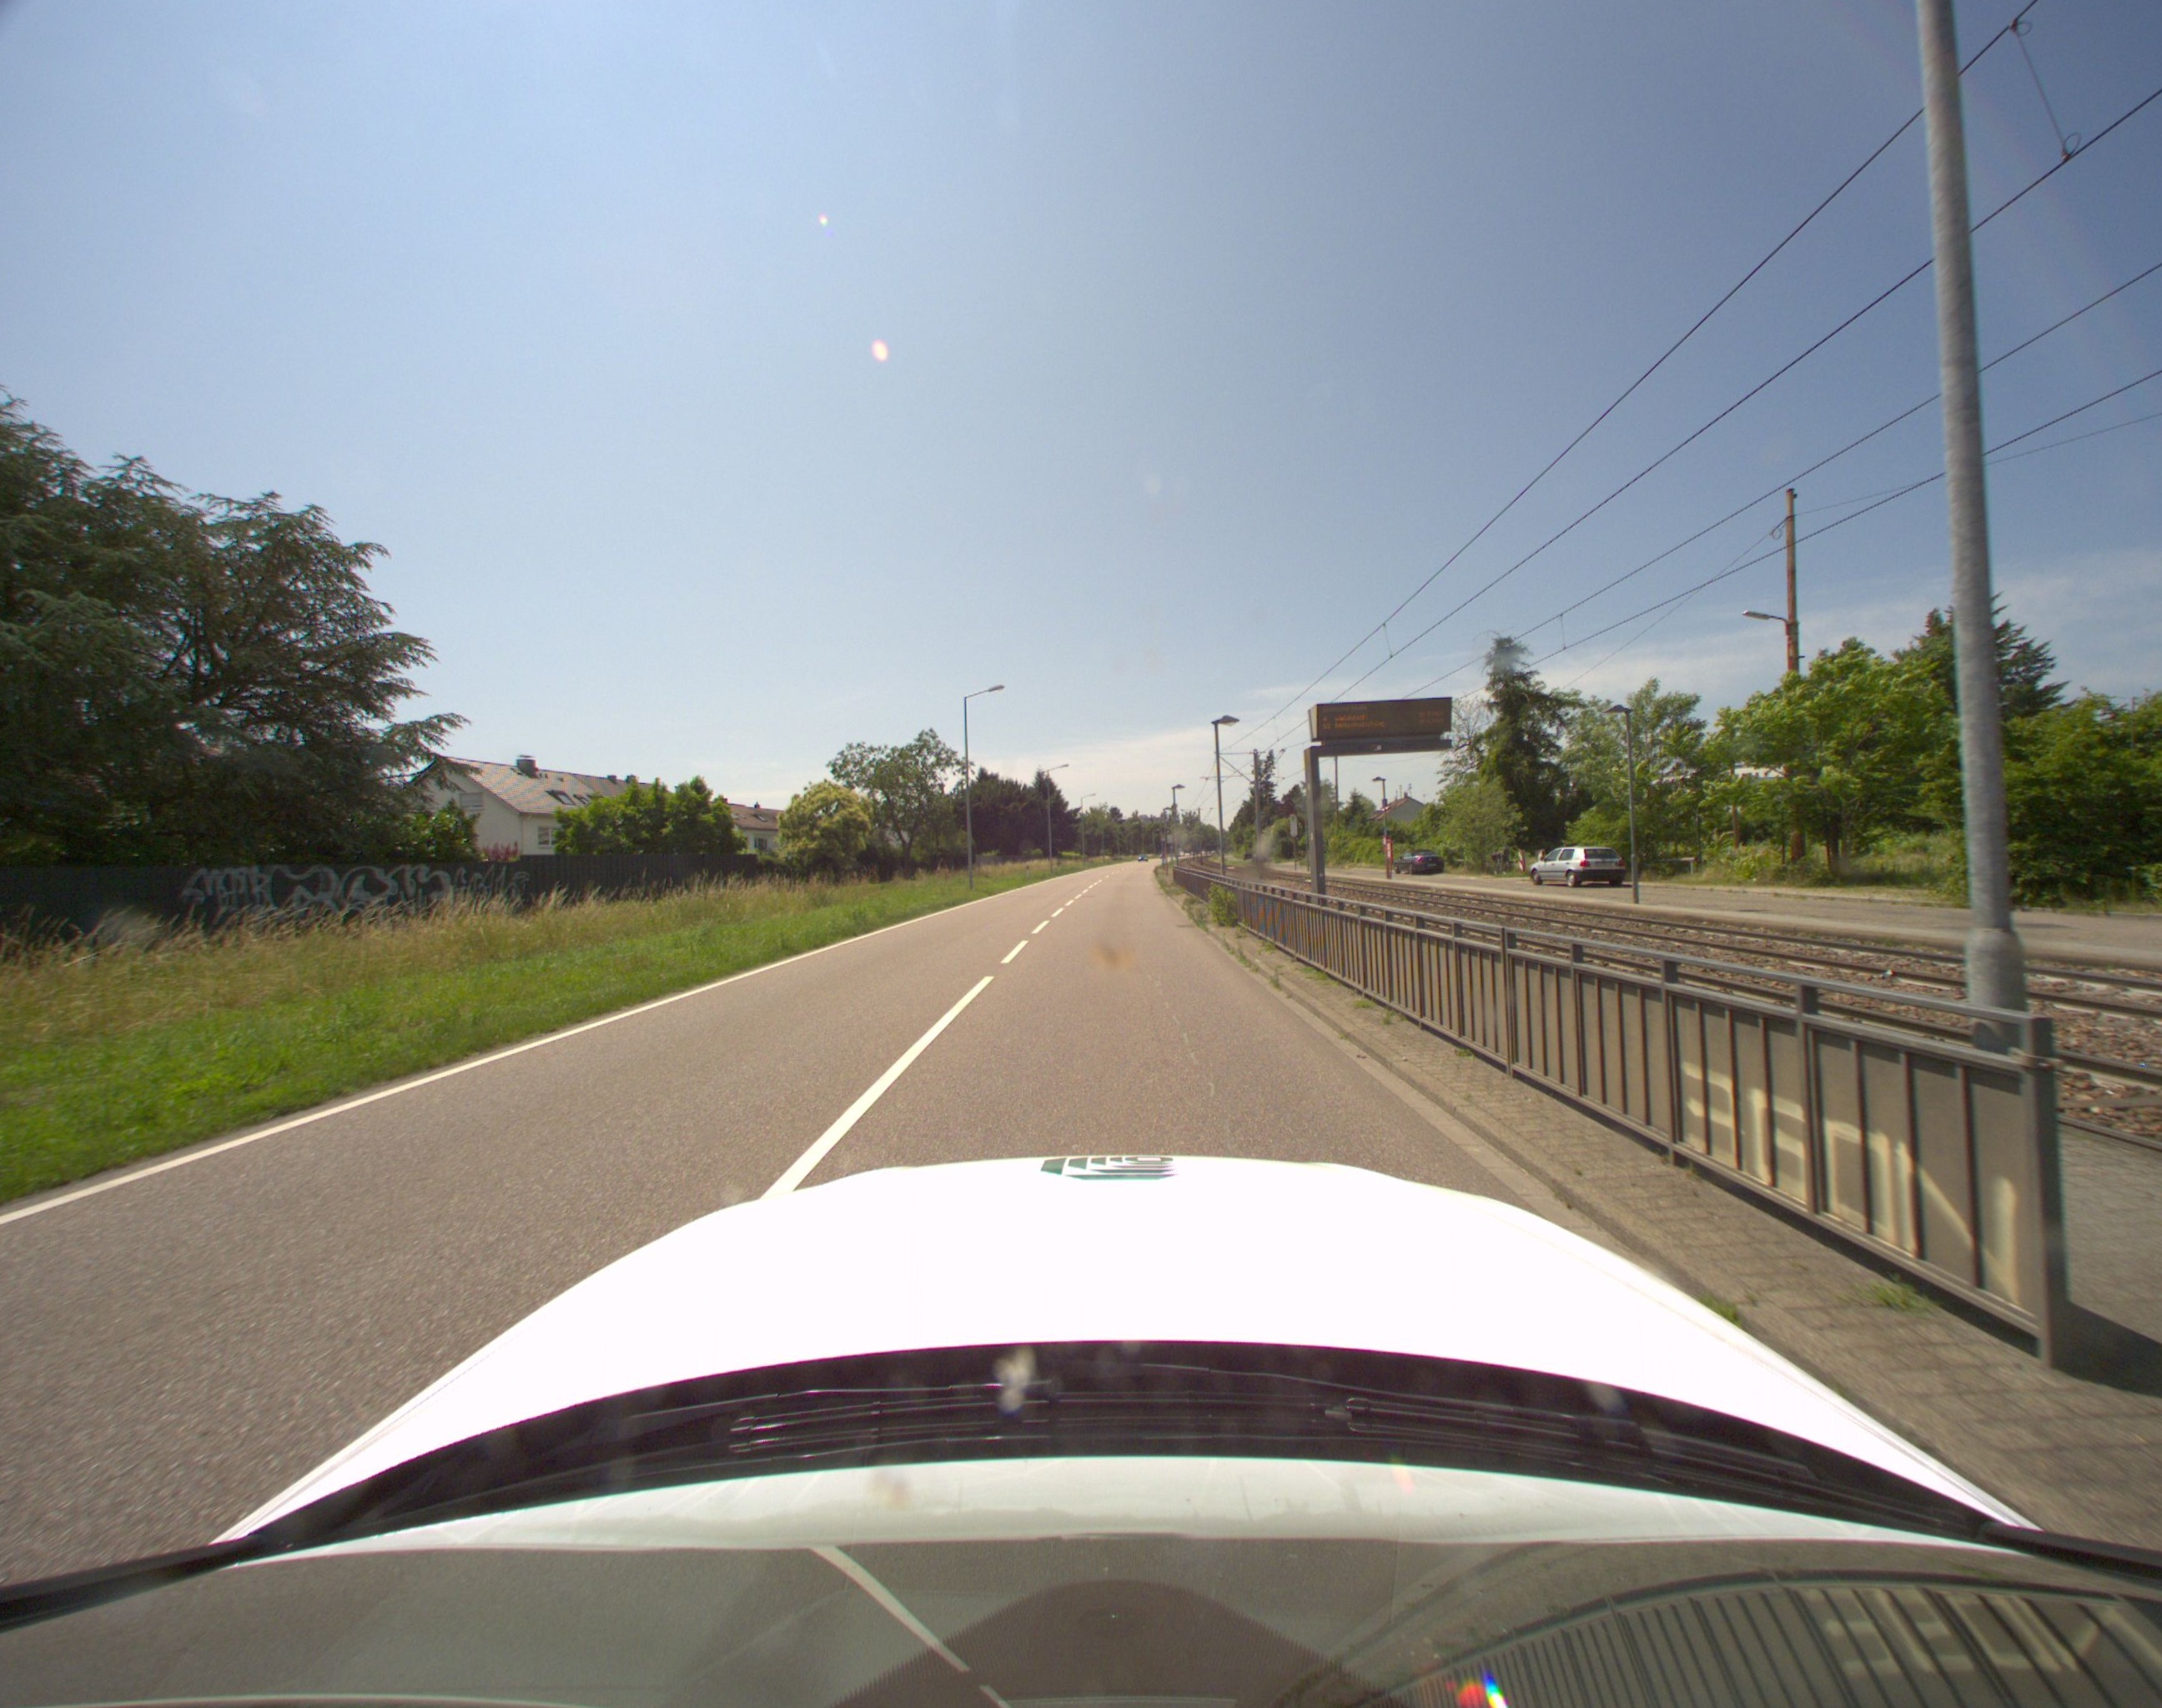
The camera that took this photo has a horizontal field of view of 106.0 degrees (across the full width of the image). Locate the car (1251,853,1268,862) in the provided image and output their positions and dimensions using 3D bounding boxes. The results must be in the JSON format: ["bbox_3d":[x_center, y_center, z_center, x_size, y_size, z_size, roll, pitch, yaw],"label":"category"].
[{"bbox_3d":[25.747,0.514,117.795,1.852,1.330,4.521,-1,0,5],"label":"car"}]

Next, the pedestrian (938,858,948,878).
[{"bbox_3d":[-10.058,1.026,59.395,0.606,1.477,0.634,-1,0,5],"label":"pedestrian"}]

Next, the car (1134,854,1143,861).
[{"bbox_3d":[11.712,0.744,165.138,1.698,1.404,4.715,-1,0,6],"label":"car"}]

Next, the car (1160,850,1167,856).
[{"bbox_3d":[23.572,-0.297,232.930,1.737,1.632,4.037,-1,0,7],"label":"car"}]

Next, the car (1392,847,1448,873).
[{"bbox_3d":[19.850,0.350,47.897,1.612,1.422,4.878,-1,0,4],"label":"car"}]

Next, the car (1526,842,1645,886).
[{"bbox_3d":[17.931,0.354,29.187,1.931,1.422,4.004,-1,0,3],"label":"car"}]

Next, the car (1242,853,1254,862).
[{"bbox_3d":[30.822,0.620,150.402,1.903,1.470,4.009,-1,0,8],"label":"car"}]

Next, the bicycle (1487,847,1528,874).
[{"bbox_3d":[21.557,0.339,41.165,0.706,1.269,1.664,-2,0,-31],"label":"bicycle"}]
